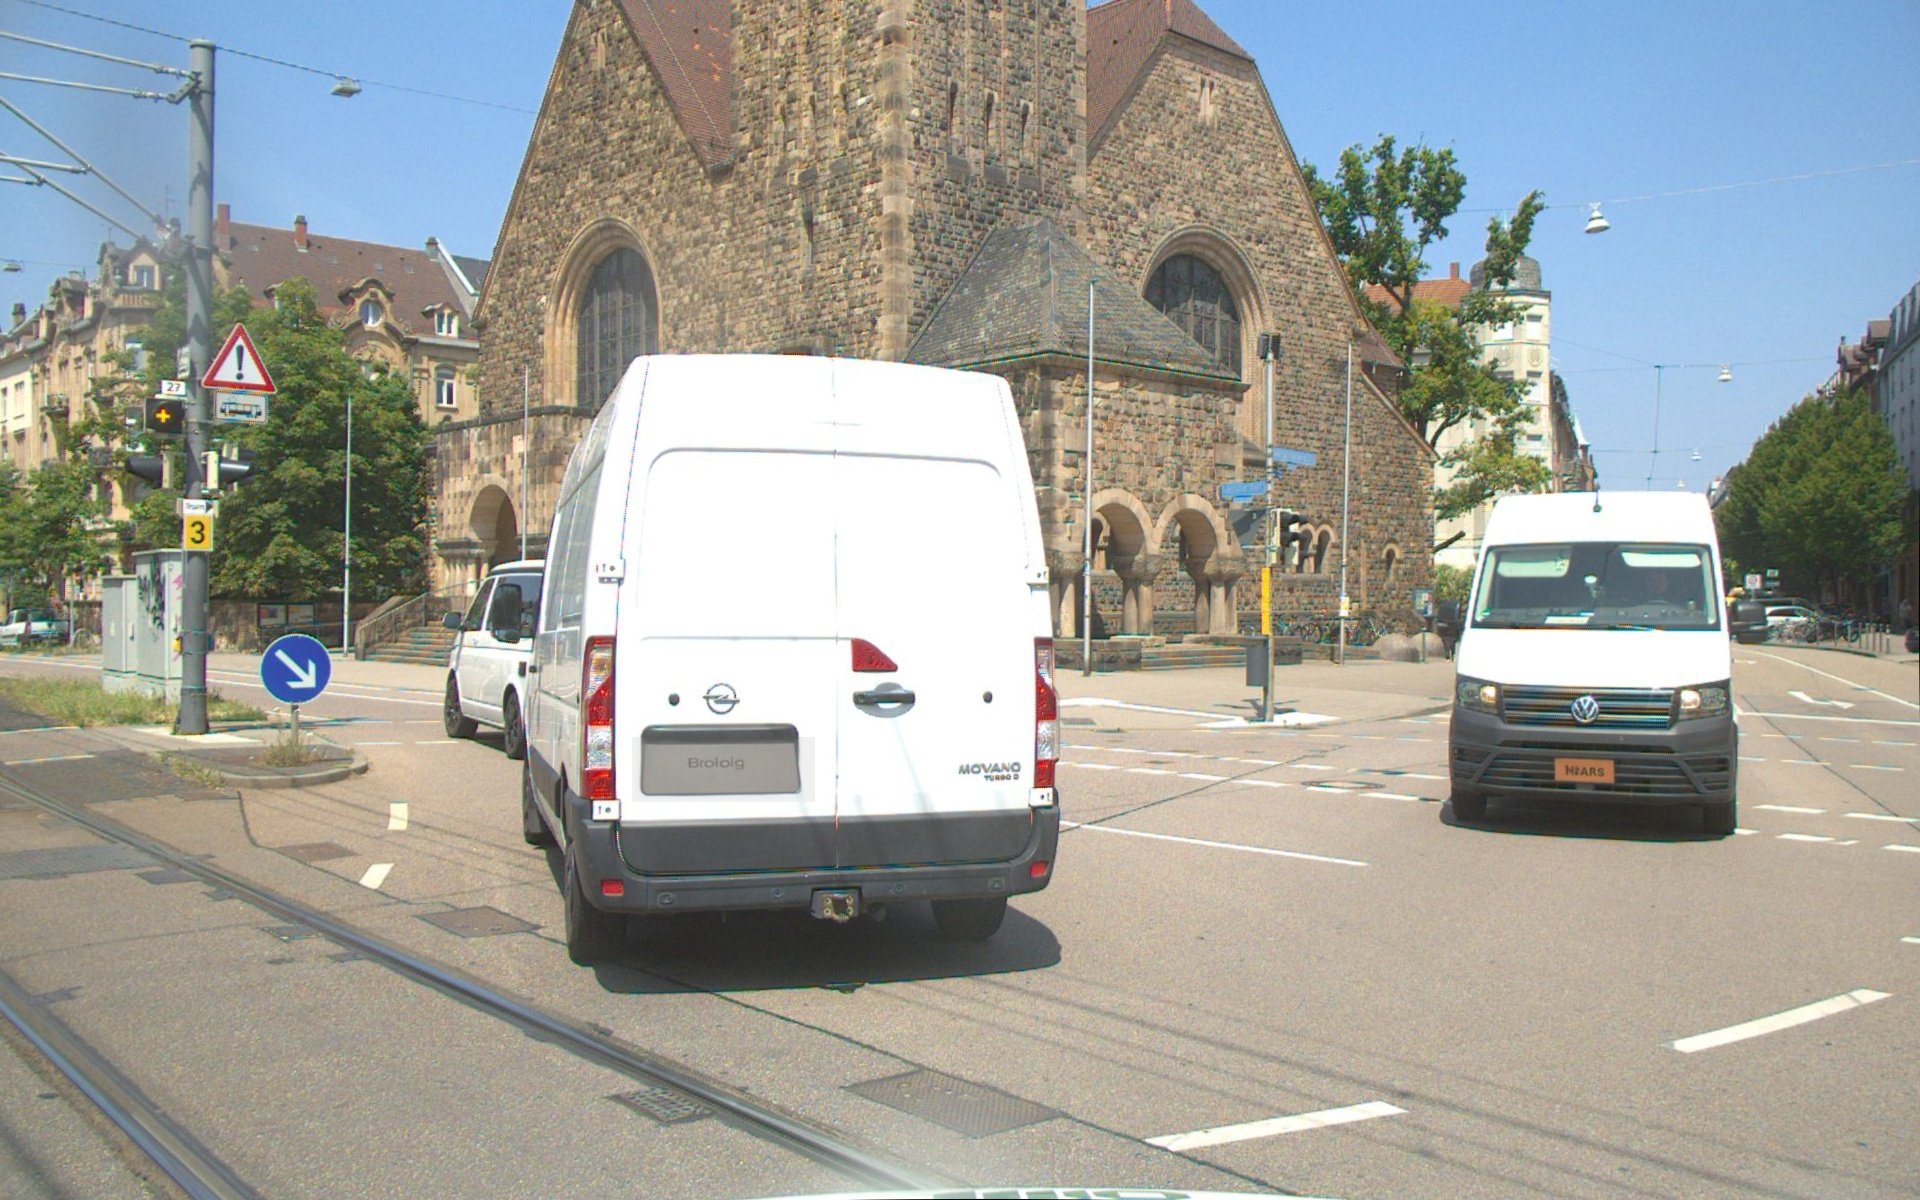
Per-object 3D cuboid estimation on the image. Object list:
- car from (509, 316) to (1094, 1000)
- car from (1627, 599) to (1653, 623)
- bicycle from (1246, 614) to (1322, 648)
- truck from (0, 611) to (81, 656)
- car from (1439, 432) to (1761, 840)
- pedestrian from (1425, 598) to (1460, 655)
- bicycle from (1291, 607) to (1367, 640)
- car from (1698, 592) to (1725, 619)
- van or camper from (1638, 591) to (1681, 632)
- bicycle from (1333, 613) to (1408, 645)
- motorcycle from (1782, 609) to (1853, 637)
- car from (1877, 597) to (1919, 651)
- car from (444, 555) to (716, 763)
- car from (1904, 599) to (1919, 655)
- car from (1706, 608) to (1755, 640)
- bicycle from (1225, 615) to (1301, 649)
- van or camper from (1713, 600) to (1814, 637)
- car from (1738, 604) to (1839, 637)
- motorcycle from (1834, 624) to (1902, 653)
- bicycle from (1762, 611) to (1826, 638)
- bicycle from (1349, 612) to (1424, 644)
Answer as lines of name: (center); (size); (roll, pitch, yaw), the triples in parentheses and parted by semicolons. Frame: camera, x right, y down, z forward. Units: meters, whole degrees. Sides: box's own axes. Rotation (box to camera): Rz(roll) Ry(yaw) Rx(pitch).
car: (-1.202, 0.239, 8.792); (2.084, 2.502, 5.028); (0, -1, -18)
car: (58.570, 0.926, 142.421); (1.953, 2.049, 3.998); (0, -1, 24)
bicycle: (10.241, 0.977, 52.311); (0.700, 1.029, 2.461); (0, 0, -41)
truck: (-34.037, 1.205, 61.051); (1.781, 1.553, 4.394); (0, 0, -43)
car: (5.601, 0.219, 14.339); (2.028, 2.683, 6.632); (0, 0, 23)
pedestrian: (13.613, 0.749, 46.675); (0.707, 1.586, 0.787); (-1, -1, 40)
bicycle: (11.825, 0.733, 53.119); (0.700, 1.029, 2.461); (0, 0, -41)
car: (60.248, 0.443, 132.581); (1.869, 2.049, 3.996); (-1, -1, 26)
van or camper: (38.182, 0.584, 90.391); (1.994, 2.179, 4.580); (0, 0, 21)
bicycle: (13.543, 0.947, 54.601); (0.700, 1.029, 2.461); (0, 0, -41)
motorcycle: (36.616, 0.970, 70.670); (2.656, 1.195, 0.774); (0, -1, 25)
car: (30.000, 0.697, 50.769); (3.173, 1.603, 1.605); (-1, -2, -24)
car: (-4.258, 0.584, 18.050); (1.895, 1.978, 4.225); (0, -1, -28)
car: (29.163, 0.736, 48.097); (3.179, 1.603, 1.482); (-1, -2, -28)
car: (43.934, 1.362, 94.408); (1.912, 1.780, 4.003); (0, 0, 16)
bicycle: (9.413, 0.985, 51.493); (0.700, 1.029, 2.461); (0, 0, -41)
van or camper: (41.028, 0.921, 84.538); (4.227, 1.870, 1.998); (0, 0, -4)
car: (39.278, 0.979, 78.443); (3.906, 1.576, 1.749); (0, -1, -1)
motorcycle: (39.125, 1.656, 71.315); (2.539, 1.195, 0.682); (0, -1, 25)
bicycle: (37.634, 1.110, 74.657); (2.537, 1.195, 0.682); (0, -1, 0)
bicycle: (14.246, 0.940, 55.329); (0.700, 1.029, 2.461); (0, 0, -41)
